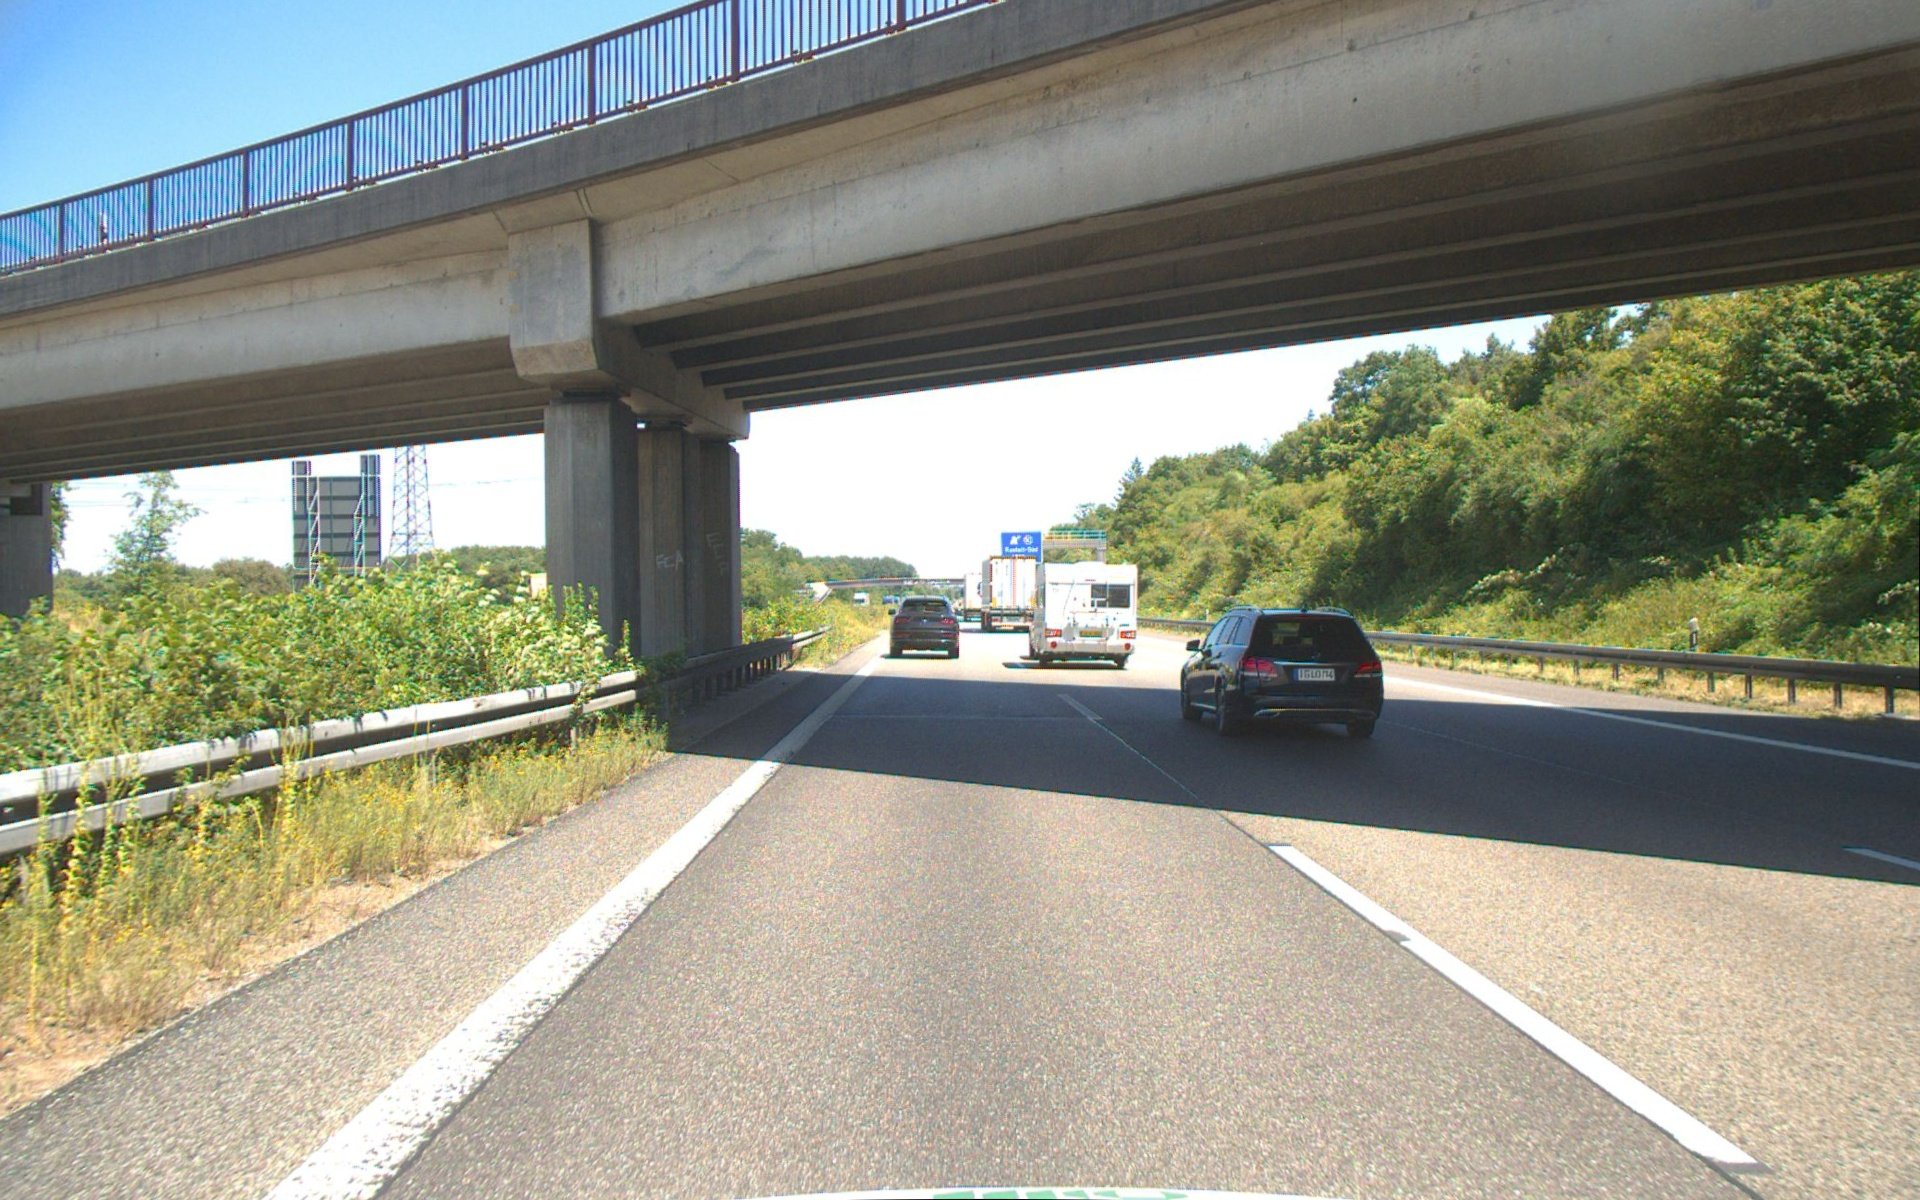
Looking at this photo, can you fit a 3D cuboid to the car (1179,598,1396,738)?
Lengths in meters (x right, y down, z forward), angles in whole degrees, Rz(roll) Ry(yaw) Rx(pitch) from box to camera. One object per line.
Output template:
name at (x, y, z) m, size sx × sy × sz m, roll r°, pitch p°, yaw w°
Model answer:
car at (3.934, 0.751, 20.656) m, size 1.803 × 1.532 × 4.738 m, roll 0°, pitch 0°, yaw 0°

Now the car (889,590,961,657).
car at (-1.012, 0.630, 47.133) m, size 1.953 × 1.803 × 3.999 m, roll -1°, pitch 0°, yaw -2°

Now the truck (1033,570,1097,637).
truck at (7.118, 0.284, 113.484) m, size 3.498 × 4.319 × 11.650 m, roll 1°, pitch 0°, yaw 0°

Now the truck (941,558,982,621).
truck at (0.064, -0.886, 144.109) m, size 3.440 × 5.257 × 10.257 m, roll 0°, pitch 0°, yaw 0°

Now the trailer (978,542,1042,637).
trailer at (2.693, -0.498, 92.951) m, size 3.024 × 4.970 × 12.256 m, roll 1°, pitch 0°, yaw 0°

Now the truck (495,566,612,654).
truck at (-19.099, 0.446, 78.401) m, size 3.440 × 3.930 × 8.660 m, roll 0°, pitch 0°, yaw 0°

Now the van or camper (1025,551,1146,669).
van or camper at (3.052, 0.223, 41.818) m, size 2.390 × 2.721 × 6.347 m, roll -1°, pitch 0°, yaw -2°

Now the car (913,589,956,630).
car at (-1.217, 0.436, 77.968) m, size 1.922 × 1.846 × 4.447 m, roll -1°, pitch 0°, yaw -2°
